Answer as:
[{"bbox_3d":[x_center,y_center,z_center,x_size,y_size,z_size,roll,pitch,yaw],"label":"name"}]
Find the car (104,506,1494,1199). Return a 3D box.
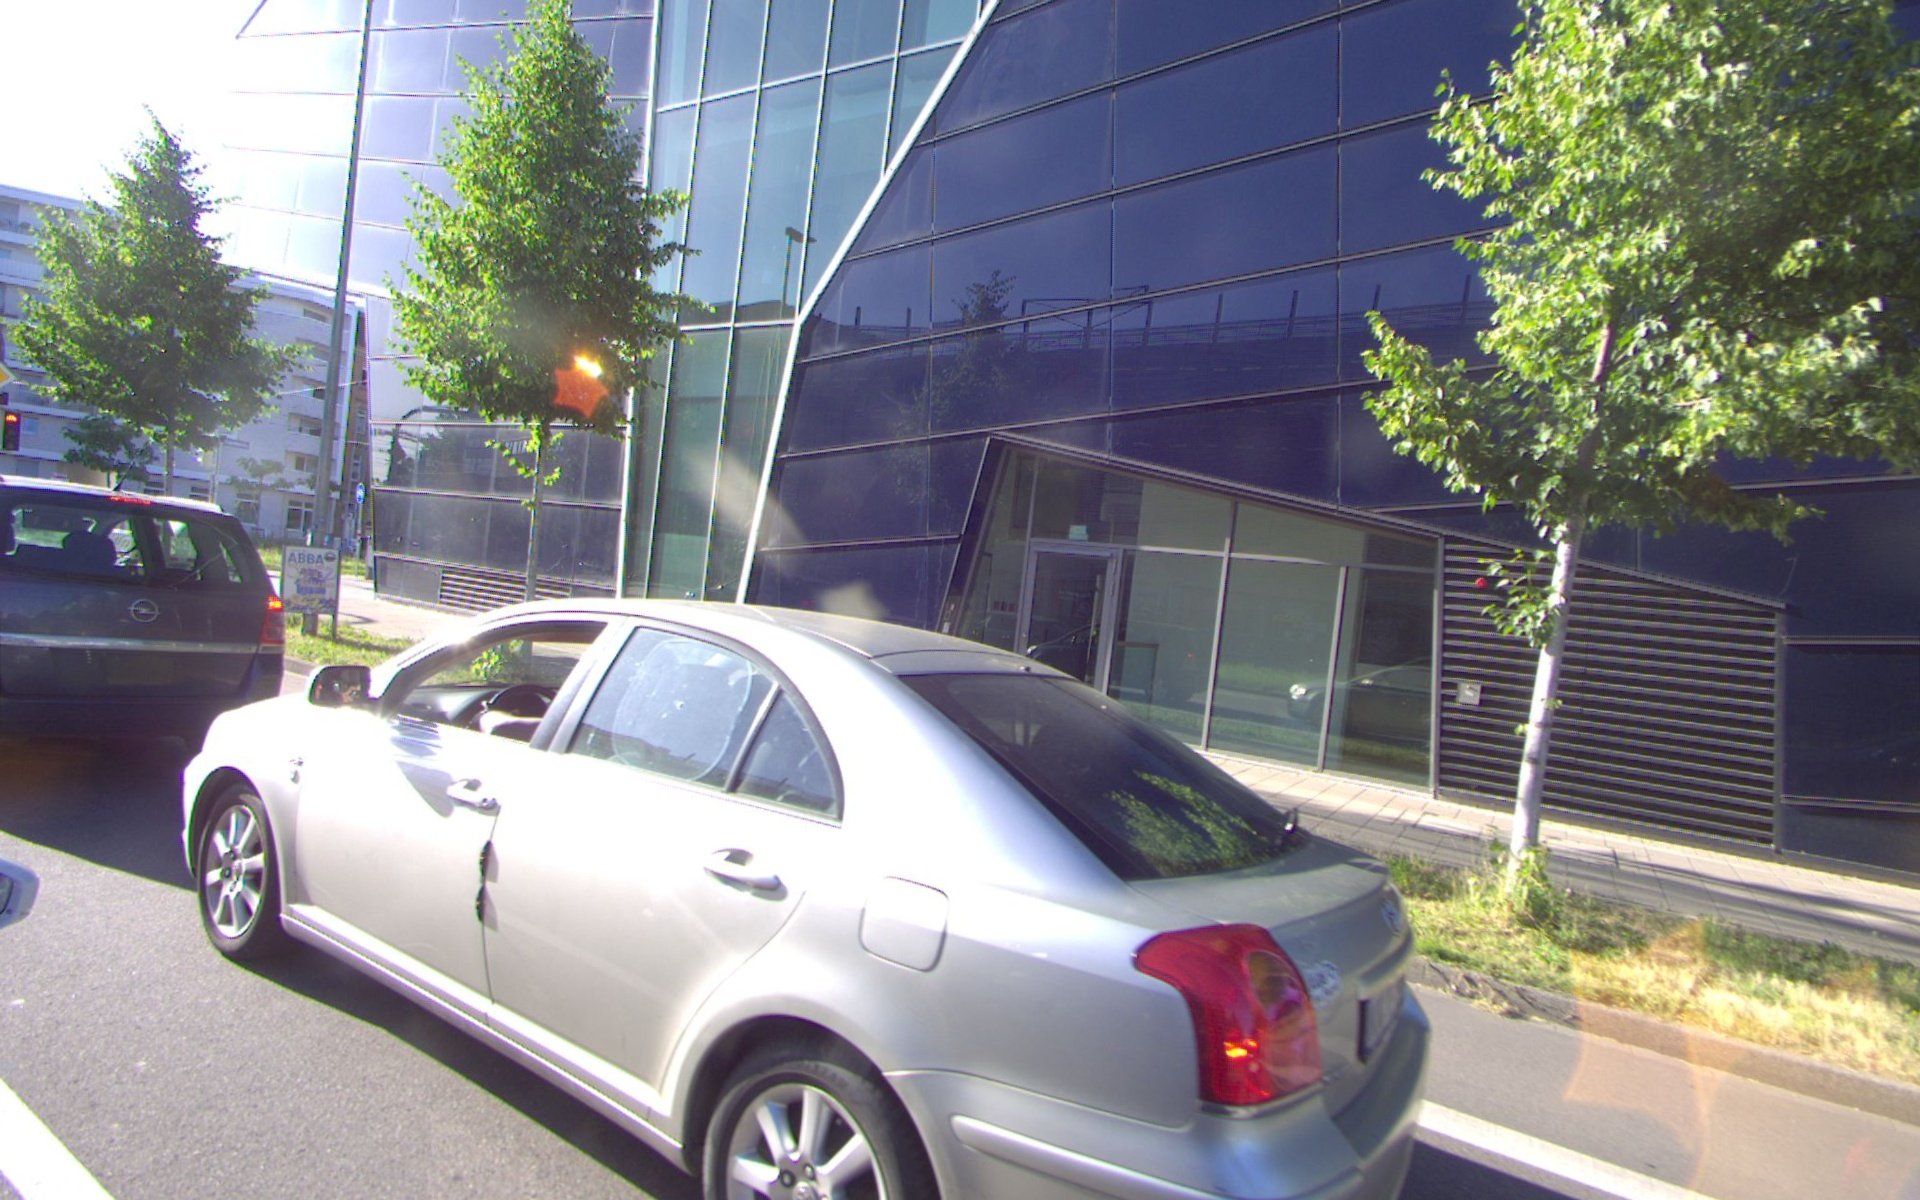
[{"bbox_3d":[-0.890,0.653,3.423,4.552,1.500,1.747,6,0,32],"label":"car"}]

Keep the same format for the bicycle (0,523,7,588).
[{"bbox_3d":[-16.771,-0.841,16.926,1.899,1.056,0.654,7,1,35],"label":"bicycle"}]

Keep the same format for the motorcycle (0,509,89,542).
[{"bbox_3d":[-38.090,-3.077,41.860,1.151,1.013,2.459,7,0,25],"label":"motorcycle"}]

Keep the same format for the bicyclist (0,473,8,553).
[{"bbox_3d":[-16.688,-1.371,16.949,0.956,1.663,0.654,7,1,35],"label":"bicyclist"}]

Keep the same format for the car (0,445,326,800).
[{"bbox_3d":[-6.133,-0.020,6.411,4.190,1.715,1.749,6,-2,32],"label":"car"}]

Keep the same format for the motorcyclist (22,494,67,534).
[{"bbox_3d":[-38.059,-3.568,41.809,1.151,1.500,0.927,7,1,25],"label":"motorcyclist"}]
